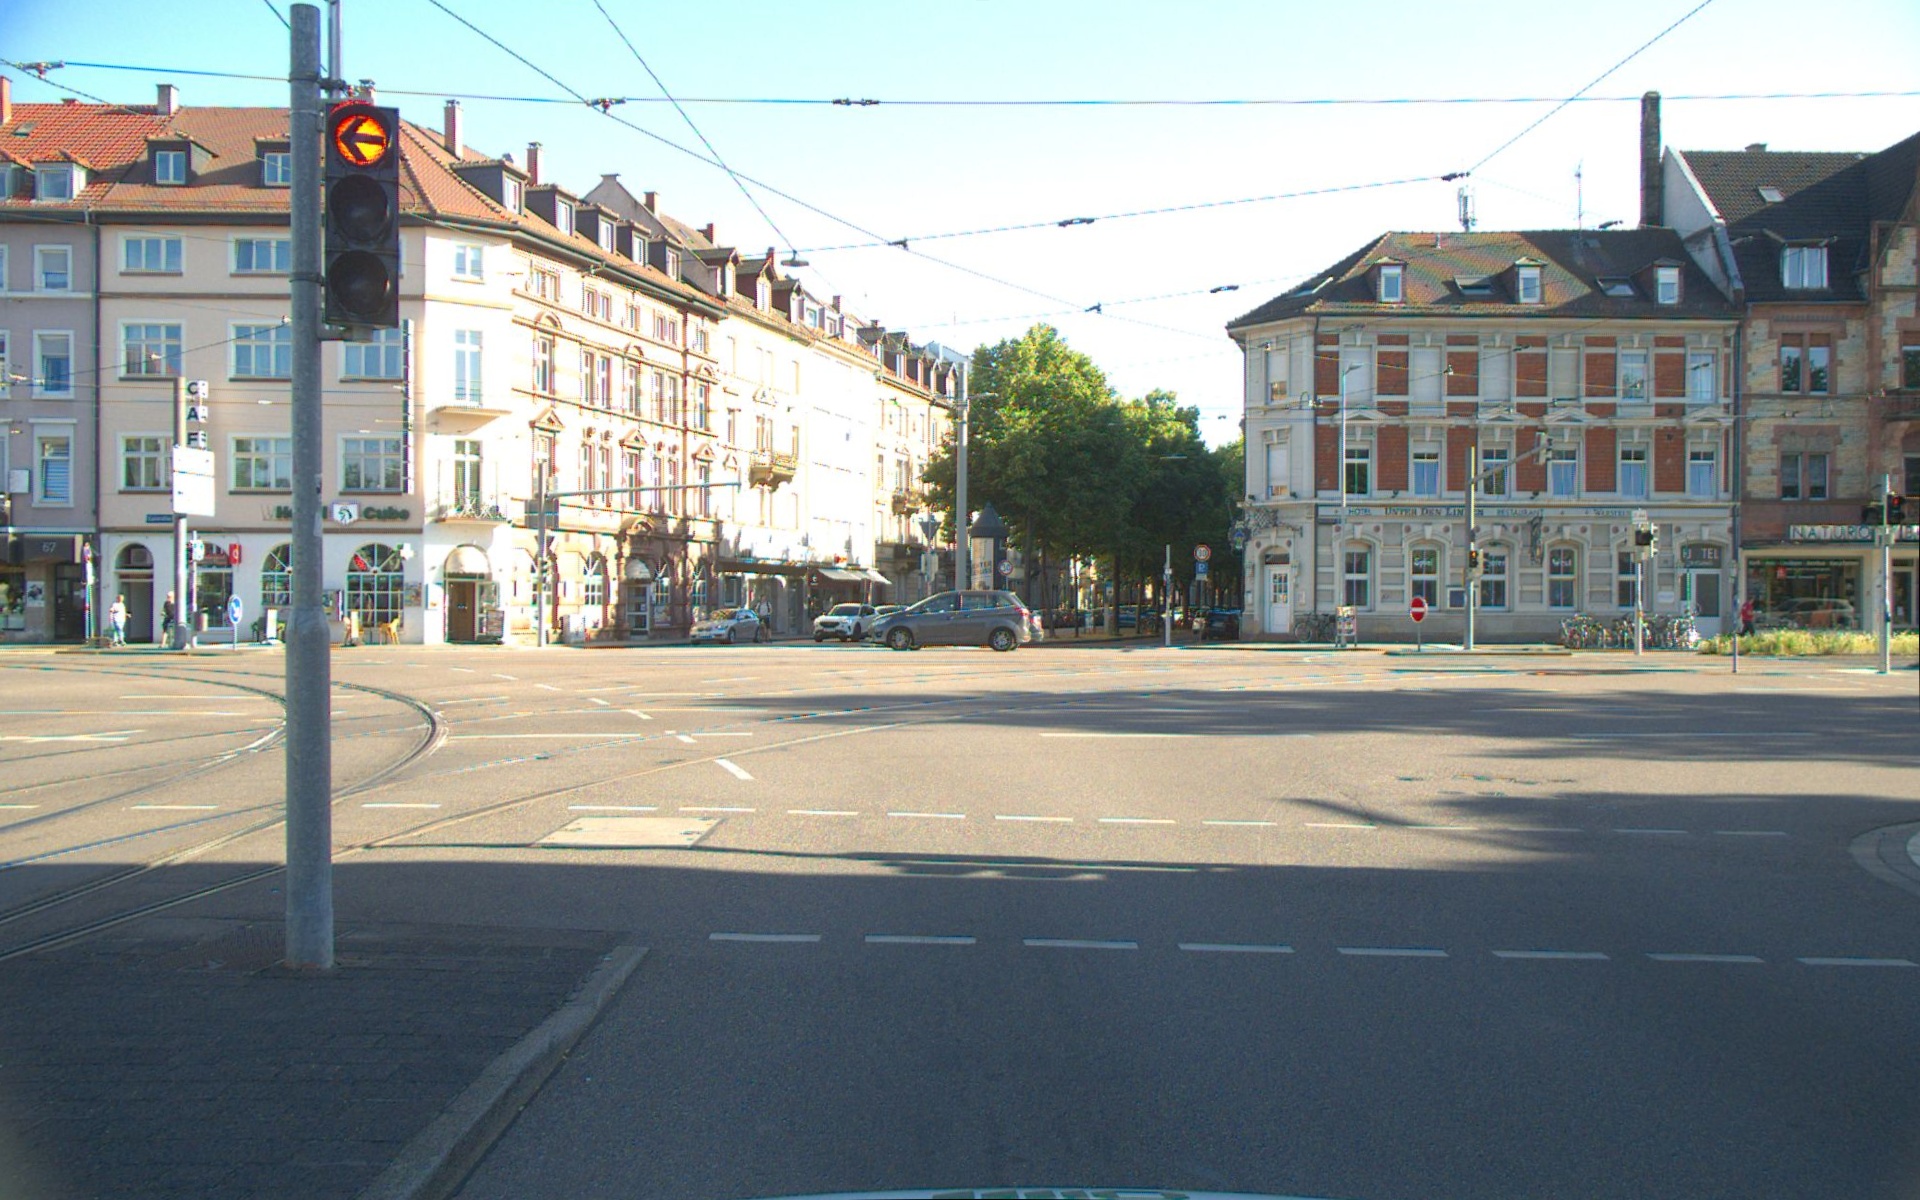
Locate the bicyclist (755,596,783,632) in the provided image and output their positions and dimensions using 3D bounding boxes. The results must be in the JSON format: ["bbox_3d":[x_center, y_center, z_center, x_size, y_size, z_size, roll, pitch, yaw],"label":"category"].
[{"bbox_3d":[-7.561,0.540,65.471,0.776,1.399,1.109,0,0,14],"label":"bicyclist"}]

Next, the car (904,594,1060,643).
[{"bbox_3d":[0.601,0.521,47.963,4.420,1.364,1.999,0,0,-3],"label":"car"}]

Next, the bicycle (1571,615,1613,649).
[{"bbox_3d":[20.464,1.033,53.575,0.593,1.069,1.641,0,0,-6],"label":"bicycle"}]

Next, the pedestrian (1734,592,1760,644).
[{"bbox_3d":[26.972,0.616,56.695,0.694,1.782,0.421,0,0,0],"label":"pedestrian"}]

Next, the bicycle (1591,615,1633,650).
[{"bbox_3d":[21.116,1.045,53.601,0.593,1.069,1.641,0,0,-6],"label":"bicycle"}]

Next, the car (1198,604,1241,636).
[{"bbox_3d":[12.971,0.998,82.473,1.616,1.551,3.755,0,-1,17],"label":"car"}]

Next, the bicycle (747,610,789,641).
[{"bbox_3d":[-7.576,0.991,65.501,0.734,1.155,2.812,0,0,14],"label":"bicycle"}]

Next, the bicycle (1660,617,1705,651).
[{"bbox_3d":[23.329,1.082,53.431,0.593,1.069,1.641,0,0,-6],"label":"bicycle"}]

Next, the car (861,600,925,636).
[{"bbox_3d":[-2.962,0.793,73.479,1.951,1.540,4.004,0,0,11],"label":"car"}]

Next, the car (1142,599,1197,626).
[{"bbox_3d":[16.952,1.005,133.672,4.026,1.952,1.746,3,0,21],"label":"car"}]

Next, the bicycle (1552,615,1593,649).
[{"bbox_3d":[19.824,1.022,53.519,0.593,1.069,1.641,0,0,-6],"label":"bicycle"}]

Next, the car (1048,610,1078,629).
[{"bbox_3d":[8.238,1.530,131.714,1.704,1.422,4.127,3,0,13],"label":"car"}]

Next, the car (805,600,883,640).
[{"bbox_3d":[-4.653,0.786,67.086,2.052,1.525,4.003,0,0,13],"label":"car"}]

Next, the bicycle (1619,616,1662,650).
[{"bbox_3d":[21.942,1.058,53.333,0.593,1.069,1.641,0,0,-6],"label":"bicycle"}]

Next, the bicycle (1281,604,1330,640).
[{"bbox_3d":[11.974,0.761,57.309,1.603,1.243,0.607,0,0,16],"label":"bicycle"}]

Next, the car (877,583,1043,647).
[{"bbox_3d":[-0.013,0.401,44.918,4.418,1.701,1.999,0,0,-2],"label":"car"}]

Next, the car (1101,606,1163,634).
[{"bbox_3d":[12.000,1.395,115.391,4.024,1.675,1.748,3,0,15],"label":"car"}]

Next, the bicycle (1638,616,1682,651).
[{"bbox_3d":[22.603,1.069,53.409,0.593,1.069,1.641,0,0,-6],"label":"bicycle"}]

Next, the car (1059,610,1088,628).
[{"bbox_3d":[9.415,1.566,136.510,1.704,1.422,4.127,3,0,13],"label":"car"}]

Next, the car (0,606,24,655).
[{"bbox_3d":[-32.064,0.996,52.160,3.910,1.489,1.998,-1,1,-6],"label":"car"}]

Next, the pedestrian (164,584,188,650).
[{"bbox_3d":[-24.668,0.537,52.040,0.498,2.049,0.505,0,0,2],"label":"pedestrian"}]

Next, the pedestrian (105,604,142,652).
[{"bbox_3d":[-27.806,0.927,54.991,0.774,1.553,0.859,0,0,0],"label":"pedestrian"}]

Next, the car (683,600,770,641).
[{"bbox_3d":[-9.453,0.808,67.226,2.052,1.572,4.367,0,0,13],"label":"car"}]
